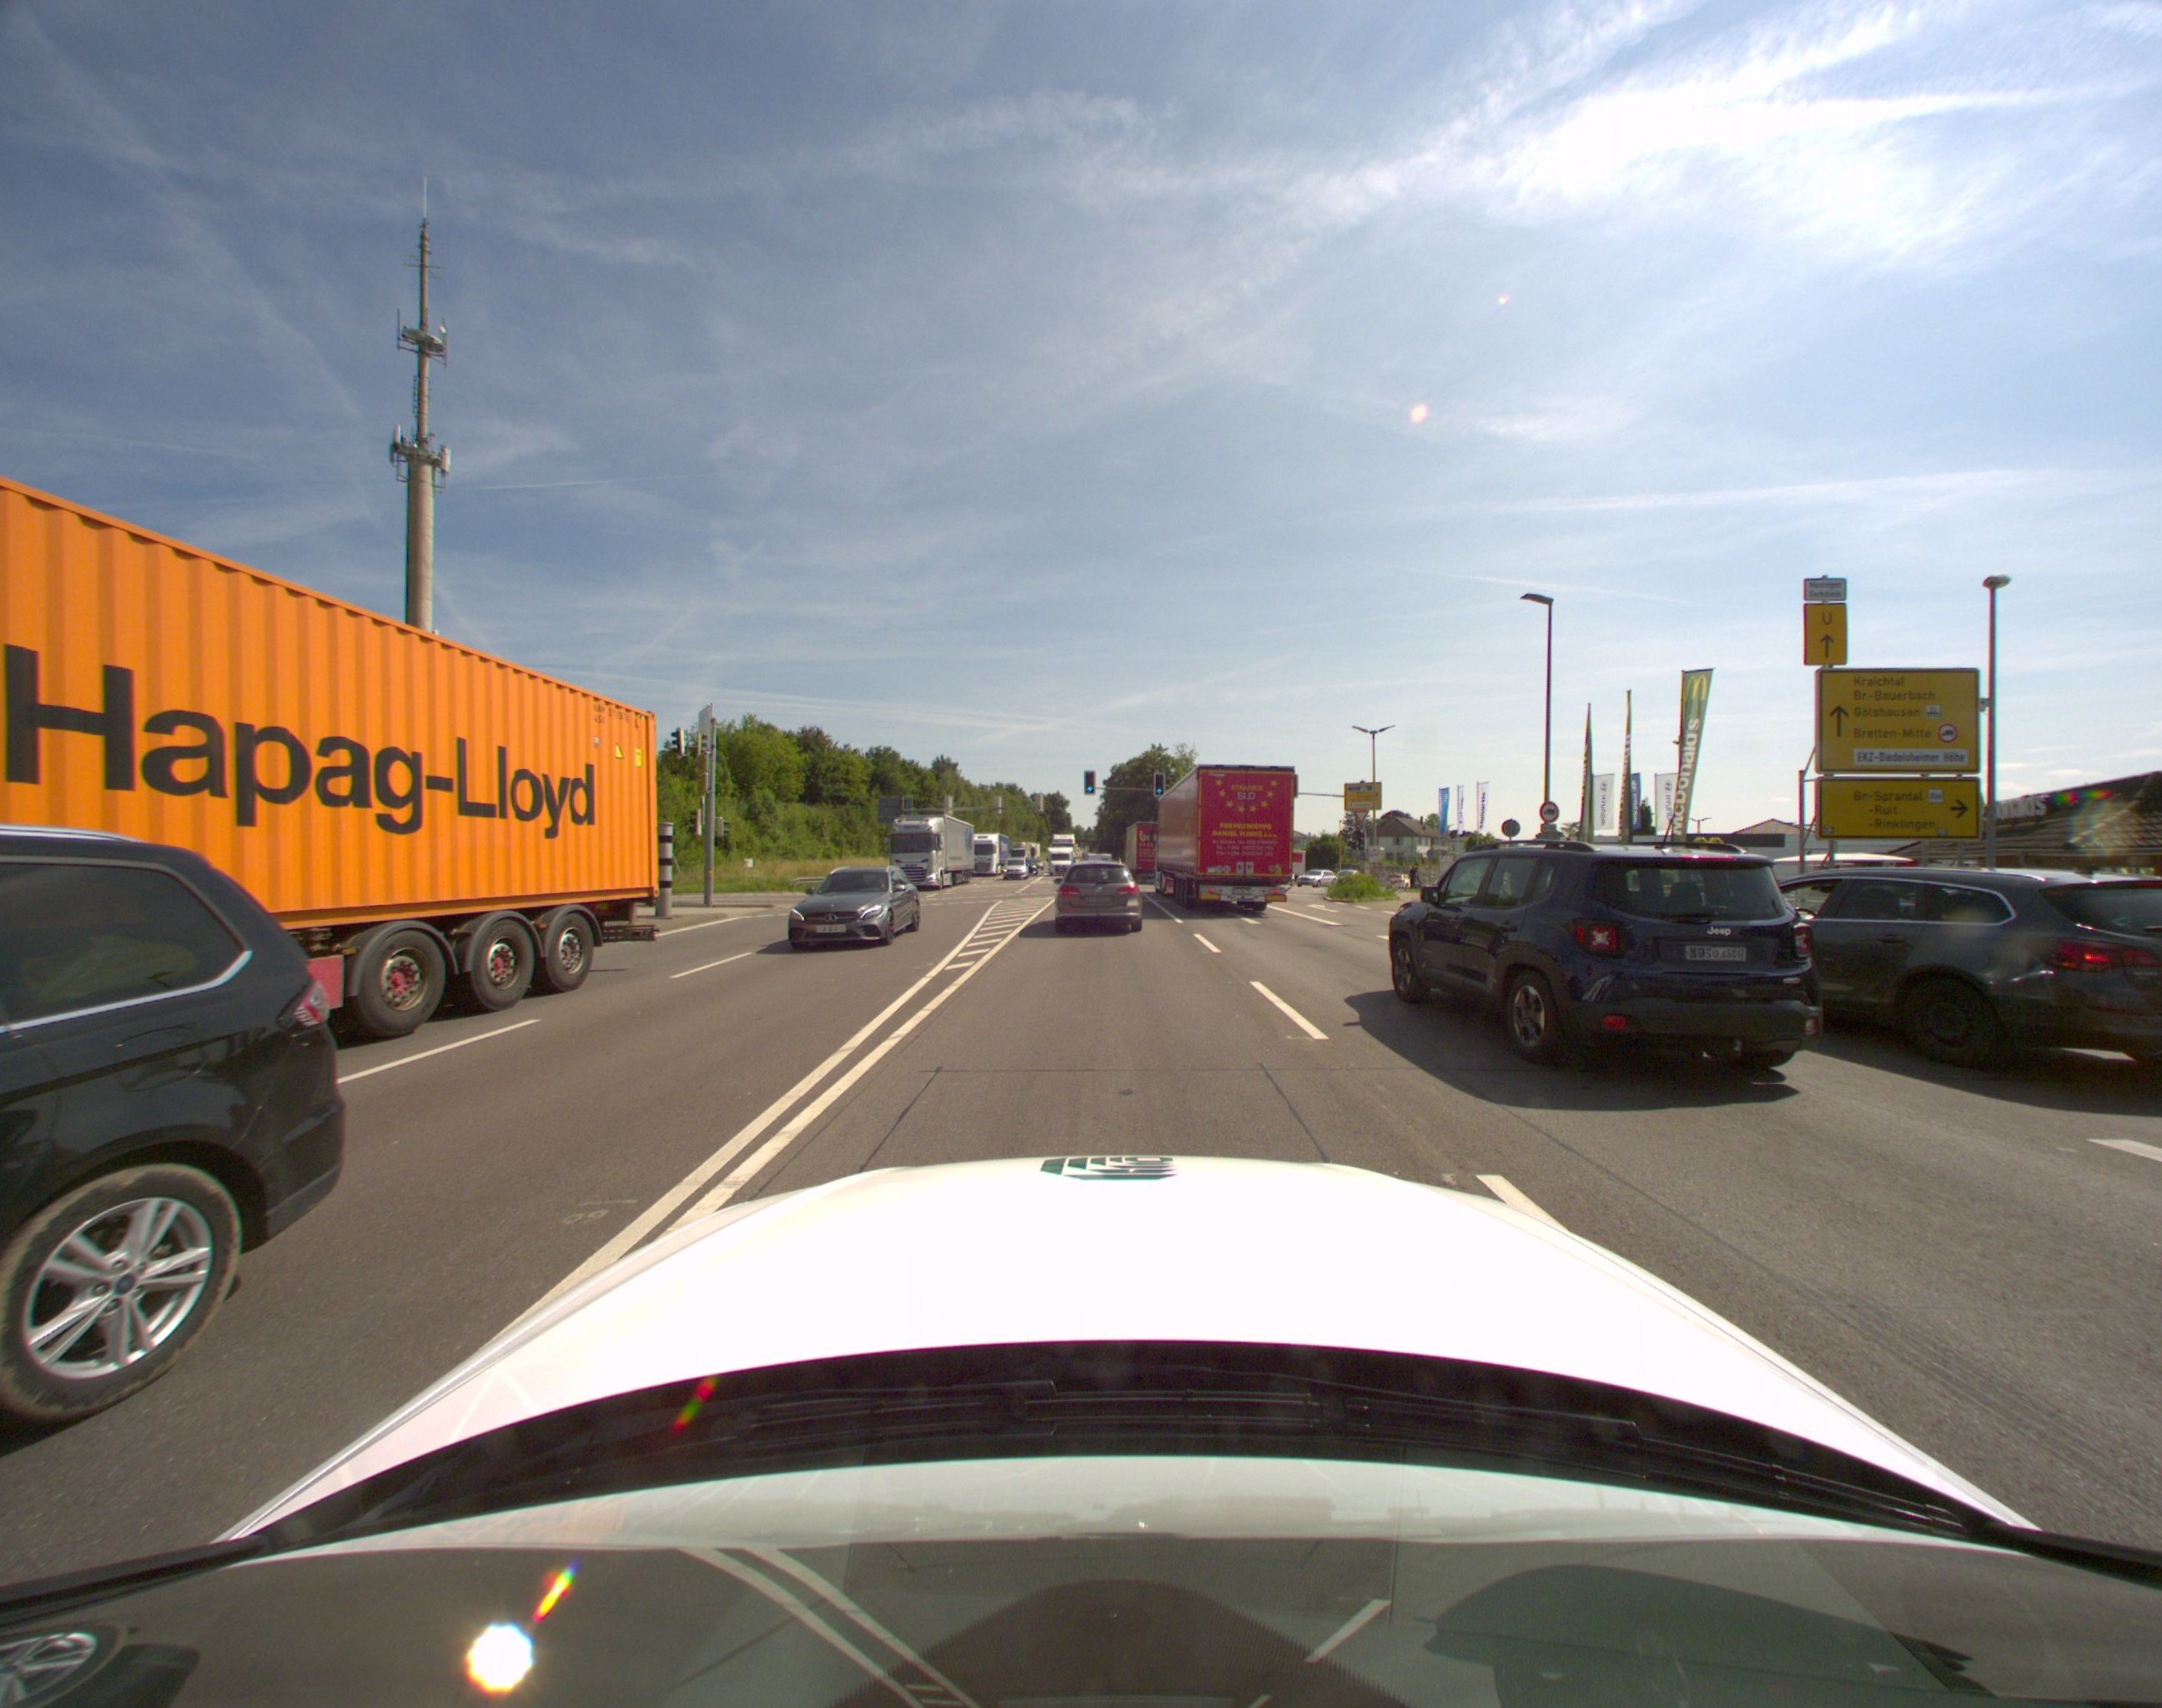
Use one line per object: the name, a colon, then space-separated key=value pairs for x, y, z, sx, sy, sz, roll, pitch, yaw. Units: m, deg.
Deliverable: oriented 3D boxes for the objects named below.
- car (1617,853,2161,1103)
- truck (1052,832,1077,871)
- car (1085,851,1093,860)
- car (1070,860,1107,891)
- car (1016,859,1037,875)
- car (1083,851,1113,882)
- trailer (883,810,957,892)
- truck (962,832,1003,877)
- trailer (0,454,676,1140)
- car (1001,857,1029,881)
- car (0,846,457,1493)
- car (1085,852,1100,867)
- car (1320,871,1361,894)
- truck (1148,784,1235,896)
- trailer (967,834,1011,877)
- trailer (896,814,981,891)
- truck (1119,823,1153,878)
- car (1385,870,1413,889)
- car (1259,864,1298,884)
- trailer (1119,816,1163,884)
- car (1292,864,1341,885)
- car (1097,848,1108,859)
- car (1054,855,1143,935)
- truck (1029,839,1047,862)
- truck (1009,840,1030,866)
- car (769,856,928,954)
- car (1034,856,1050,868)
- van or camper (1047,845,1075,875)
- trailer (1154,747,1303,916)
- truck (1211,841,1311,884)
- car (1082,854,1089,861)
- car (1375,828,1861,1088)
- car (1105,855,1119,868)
car: x=7.342 y=0.772 z=7.305 sx=1.989 sy=1.519 sz=4.444 roll=-1 pitch=0 yaw=-3
truck: x=-1.814 y=-0.225 z=88.855 sx=2.530 sy=4.088 sz=6.261 roll=-1 pitch=0 yaw=-2
car: x=1.951 y=0.406 z=197.488 sx=1.988 sy=2.014 sz=3.998 roll=-1 pitch=0 yaw=-1
car: x=0.338 y=1.058 z=42.060 sx=1.765 sy=1.513 sz=3.998 roll=-1 pitch=0 yaw=-1
car: x=-5.334 y=1.217 z=79.787 sx=1.989 sy=1.485 sz=4.449 roll=-1 pitch=0 yaw=-3
car: x=1.083 y=0.798 z=52.666 sx=1.765 sy=1.936 sz=3.976 roll=-1 pitch=0 yaw=-1
trailer: x=-8.570 y=-0.133 z=43.986 sx=2.636 sy=4.105 sz=6.180 roll=-1 pitch=0 yaw=0
truck: x=-9.258 y=0.075 z=77.193 sx=3.178 sy=4.080 sz=6.343 roll=-1 pitch=0 yaw=-1
trailer: x=-7.745 y=-0.305 z=7.134 sx=2.714 sy=3.998 sz=12.223 roll=-1 pitch=0 yaw=-2
car: x=-5.096 y=1.110 z=63.466 sx=1.837 sy=1.732 sz=4.587 roll=1 pitch=0 yaw=-1
car: x=-3.640 y=0.819 z=1.192 sx=1.903 sy=1.602 sz=4.587 roll=-2 pitch=0 yaw=-1
car: x=1.548 y=0.744 z=112.374 sx=1.988 sy=2.014 sz=3.998 roll=-1 pitch=0 yaw=-1
car: x=19.732 y=2.163 z=61.844 sx=1.974 sy=1.575 sz=4.025 roll=2 pitch=-1 yaw=33
truck: x=4.542 y=-0.529 z=34.628 sx=2.861 sy=4.281 sz=5.838 roll=1 pitch=0 yaw=0
trailer: x=-9.330 y=0.195 z=84.280 sx=3.084 sy=4.080 sz=14.121 roll=-1 pitch=0 yaw=-1
trailer: x=-8.517 y=-0.046 z=50.721 sx=2.682 sy=4.147 sz=13.878 roll=-1 pitch=0 yaw=0
truck: x=4.286 y=-0.279 z=64.506 sx=2.398 sy=4.128 sz=5.522 roll=-1 pitch=0 yaw=1
car: x=28.810 y=2.319 z=73.725 sx=1.758 sy=1.575 sz=3.730 roll=2 pitch=0 yaw=30
car: x=16.753 y=1.728 z=68.945 sx=1.689 sy=1.504 sz=3.778 roll=1 pitch=-2 yaw=40
trailer: x=4.100 y=-0.245 z=57.758 sx=2.386 sy=4.243 sz=13.081 roll=-1 pitch=0 yaw=1
car: x=19.453 y=1.708 z=67.240 sx=1.975 sy=1.505 sz=5.030 roll=1 pitch=-2 yaw=40
car: x=4.160 y=-0.080 z=160.532 sx=1.988 sy=2.014 sz=3.998 roll=-1 pitch=0 yaw=-1
car: x=0.305 y=0.804 z=17.624 sx=1.686 sy=1.513 sz=3.998 roll=-1 pitch=0 yaw=-1
truck: x=-7.906 y=-0.602 z=150.146 sx=2.821 sy=4.116 sz=9.677 roll=-1 pitch=0 yaw=-1
truck: x=-9.717 y=-0.117 z=130.218 sx=2.721 sy=3.999 sz=9.615 roll=-1 pitch=0 yaw=-1
car: x=-4.512 y=0.900 z=16.596 sx=1.916 sy=1.602 sz=4.587 roll=-2 pitch=0 yaw=-1
car: x=-5.052 y=1.081 z=106.338 sx=1.719 sy=1.502 sz=4.001 roll=-1 pitch=0 yaw=1
van or camper: x=-1.789 y=0.572 z=75.313 sx=2.323 sy=2.600 sz=6.978 roll=-1 pitch=0 yaw=0
trailer: x=4.458 y=-0.558 z=27.868 sx=2.829 sy=4.365 sz=13.168 roll=1 pitch=0 yaw=1
truck: x=18.375 y=0.917 z=82.857 sx=9.692 sy=3.628 sz=2.751 roll=5 pitch=-2 yaw=-17
car: x=1.317 y=0.980 z=236.841 sx=1.988 sy=2.014 sz=3.998 roll=-1 pitch=0 yaw=-1
car: x=4.183 y=0.682 z=7.262 sx=1.764 sy=1.654 sz=4.001 roll=-1 pitch=0 yaw=1
car: x=4.991 y=1.266 z=131.061 sx=1.988 sy=2.014 sz=3.998 roll=-1 pitch=0 yaw=-1
